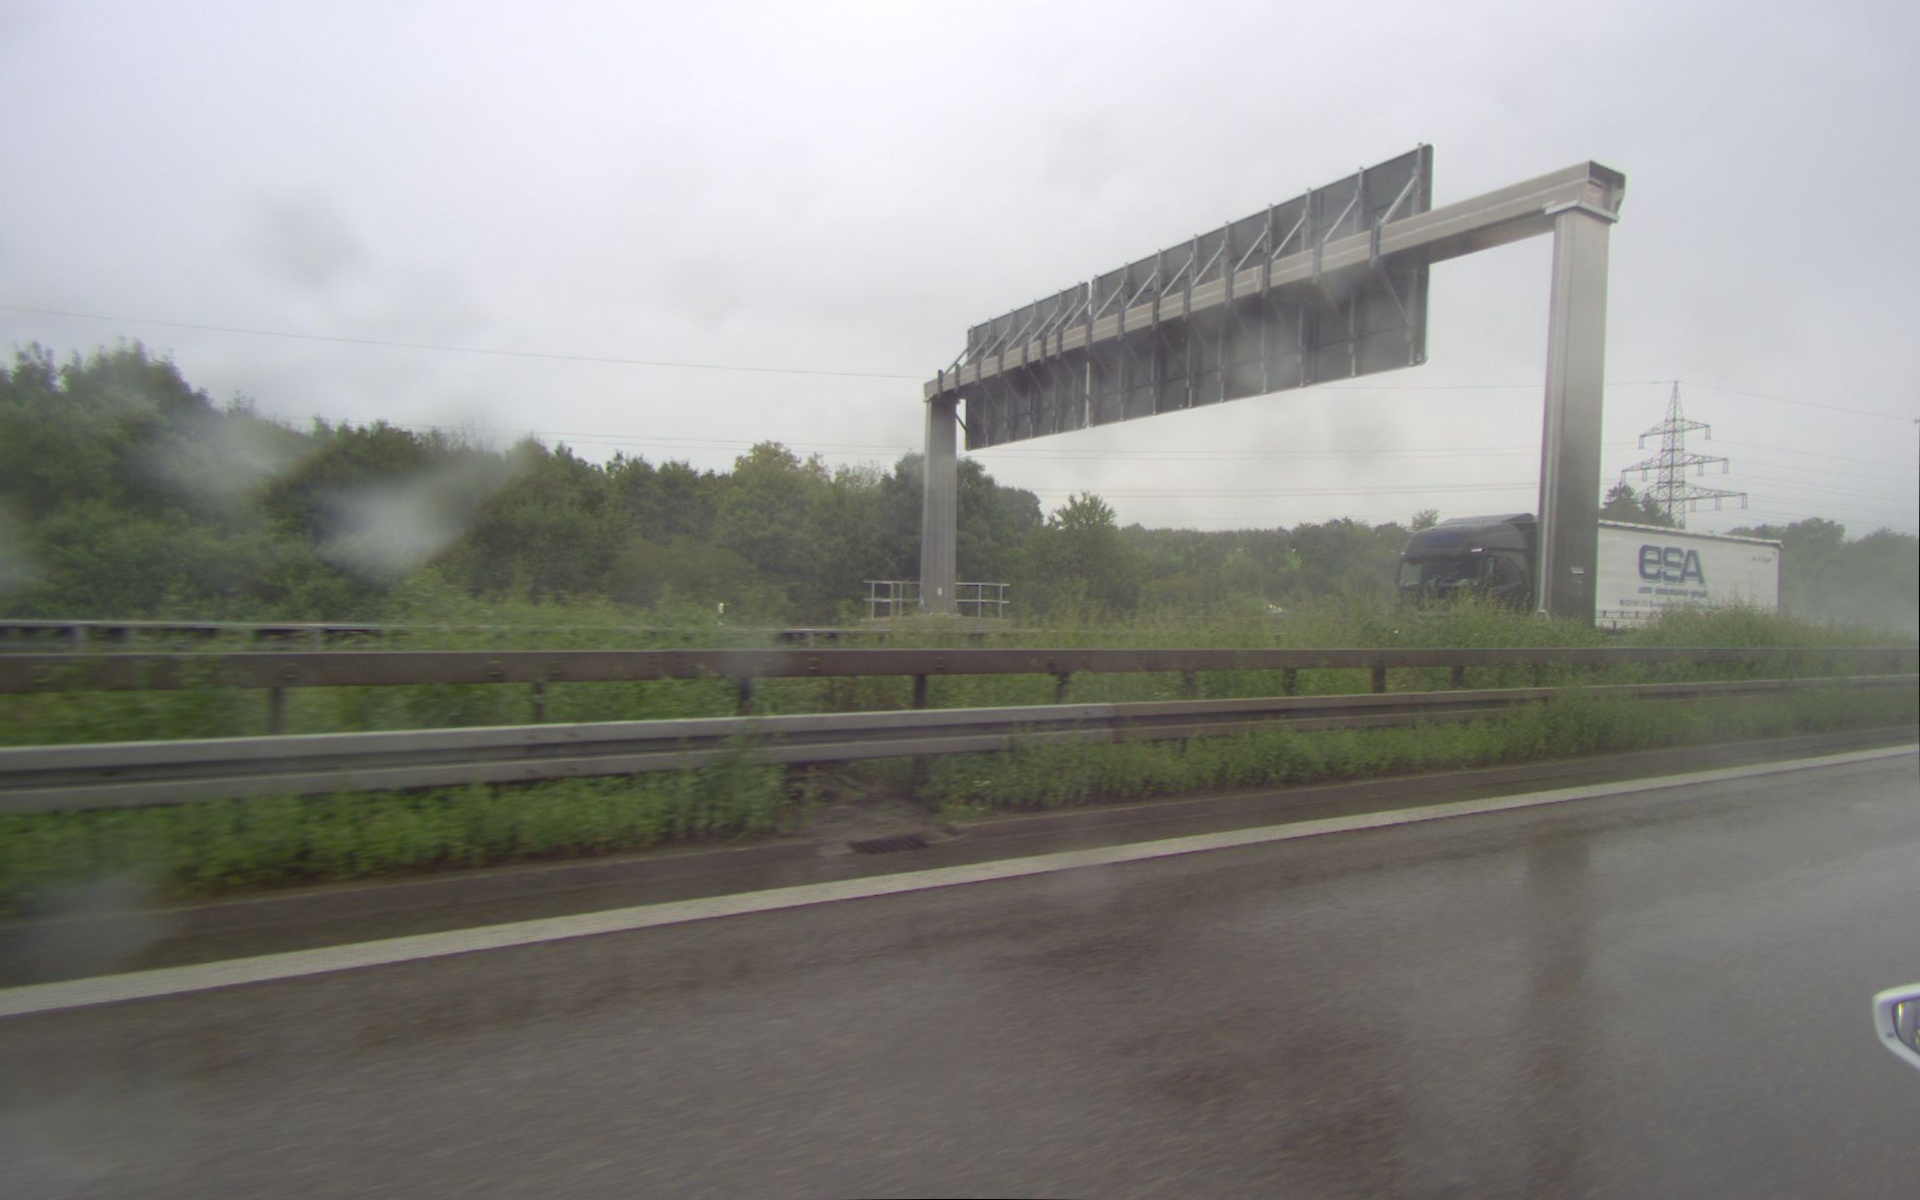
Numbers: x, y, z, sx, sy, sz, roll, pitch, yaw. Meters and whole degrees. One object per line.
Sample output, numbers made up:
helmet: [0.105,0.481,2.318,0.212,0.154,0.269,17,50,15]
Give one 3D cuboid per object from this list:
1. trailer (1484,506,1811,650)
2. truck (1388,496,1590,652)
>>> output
trailer: [21.456,-0.560,30.815,13.762,3.772,2.321,1,4,-30]
truck: [13.955,-0.670,26.489,4.681,3.759,2.345,1,4,-30]
